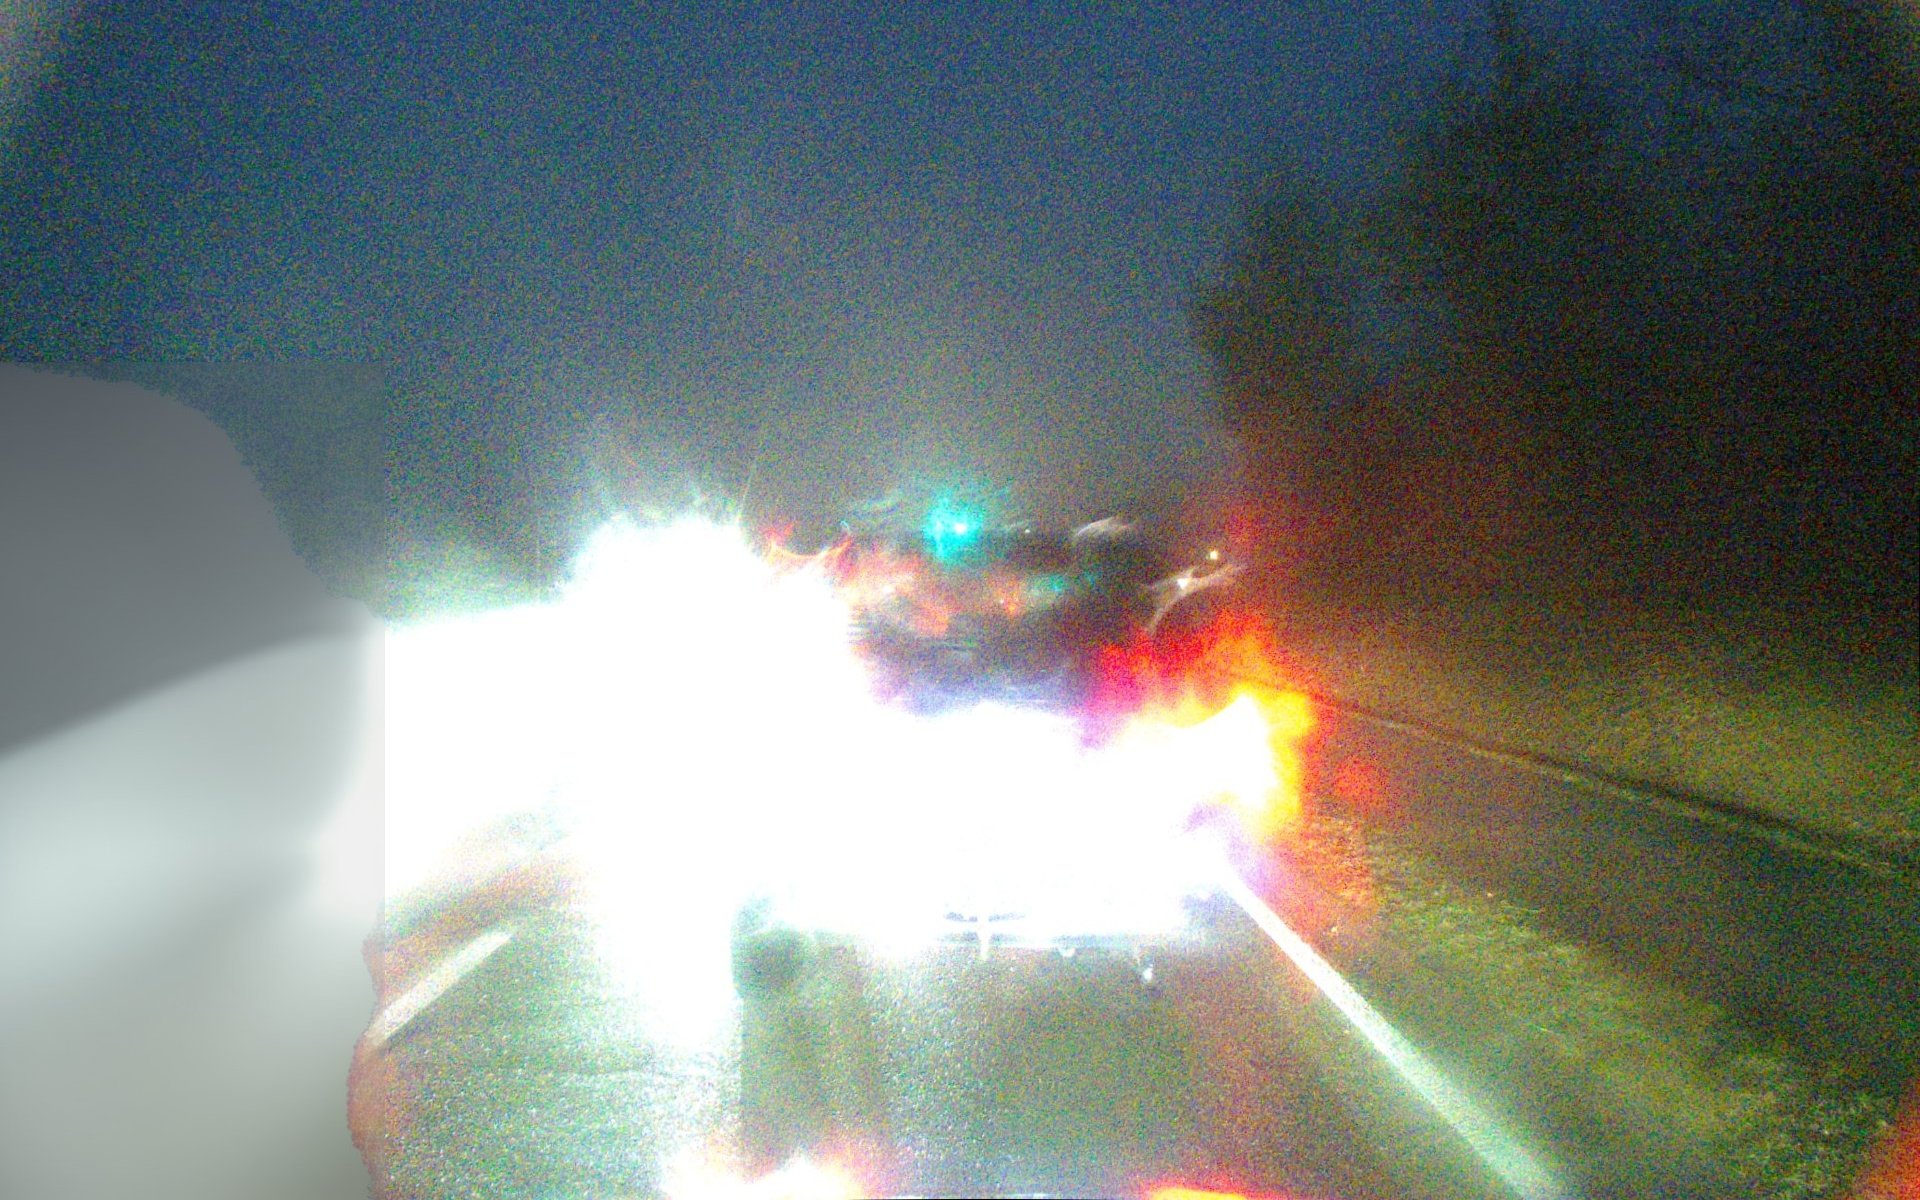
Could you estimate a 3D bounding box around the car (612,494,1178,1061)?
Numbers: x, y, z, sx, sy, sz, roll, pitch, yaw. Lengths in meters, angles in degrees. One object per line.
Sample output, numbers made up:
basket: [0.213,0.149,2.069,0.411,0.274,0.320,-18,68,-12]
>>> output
car: [-0.209,0.561,7.141,1.739,1.742,3.999,1,0,0]

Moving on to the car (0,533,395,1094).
car: [-3.616,0.571,5.927,1.800,1.573,4.256,1,1,-2]

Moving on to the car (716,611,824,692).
car: [-3.977,1.044,35.280,1.865,1.495,4.273,2,0,-2]
